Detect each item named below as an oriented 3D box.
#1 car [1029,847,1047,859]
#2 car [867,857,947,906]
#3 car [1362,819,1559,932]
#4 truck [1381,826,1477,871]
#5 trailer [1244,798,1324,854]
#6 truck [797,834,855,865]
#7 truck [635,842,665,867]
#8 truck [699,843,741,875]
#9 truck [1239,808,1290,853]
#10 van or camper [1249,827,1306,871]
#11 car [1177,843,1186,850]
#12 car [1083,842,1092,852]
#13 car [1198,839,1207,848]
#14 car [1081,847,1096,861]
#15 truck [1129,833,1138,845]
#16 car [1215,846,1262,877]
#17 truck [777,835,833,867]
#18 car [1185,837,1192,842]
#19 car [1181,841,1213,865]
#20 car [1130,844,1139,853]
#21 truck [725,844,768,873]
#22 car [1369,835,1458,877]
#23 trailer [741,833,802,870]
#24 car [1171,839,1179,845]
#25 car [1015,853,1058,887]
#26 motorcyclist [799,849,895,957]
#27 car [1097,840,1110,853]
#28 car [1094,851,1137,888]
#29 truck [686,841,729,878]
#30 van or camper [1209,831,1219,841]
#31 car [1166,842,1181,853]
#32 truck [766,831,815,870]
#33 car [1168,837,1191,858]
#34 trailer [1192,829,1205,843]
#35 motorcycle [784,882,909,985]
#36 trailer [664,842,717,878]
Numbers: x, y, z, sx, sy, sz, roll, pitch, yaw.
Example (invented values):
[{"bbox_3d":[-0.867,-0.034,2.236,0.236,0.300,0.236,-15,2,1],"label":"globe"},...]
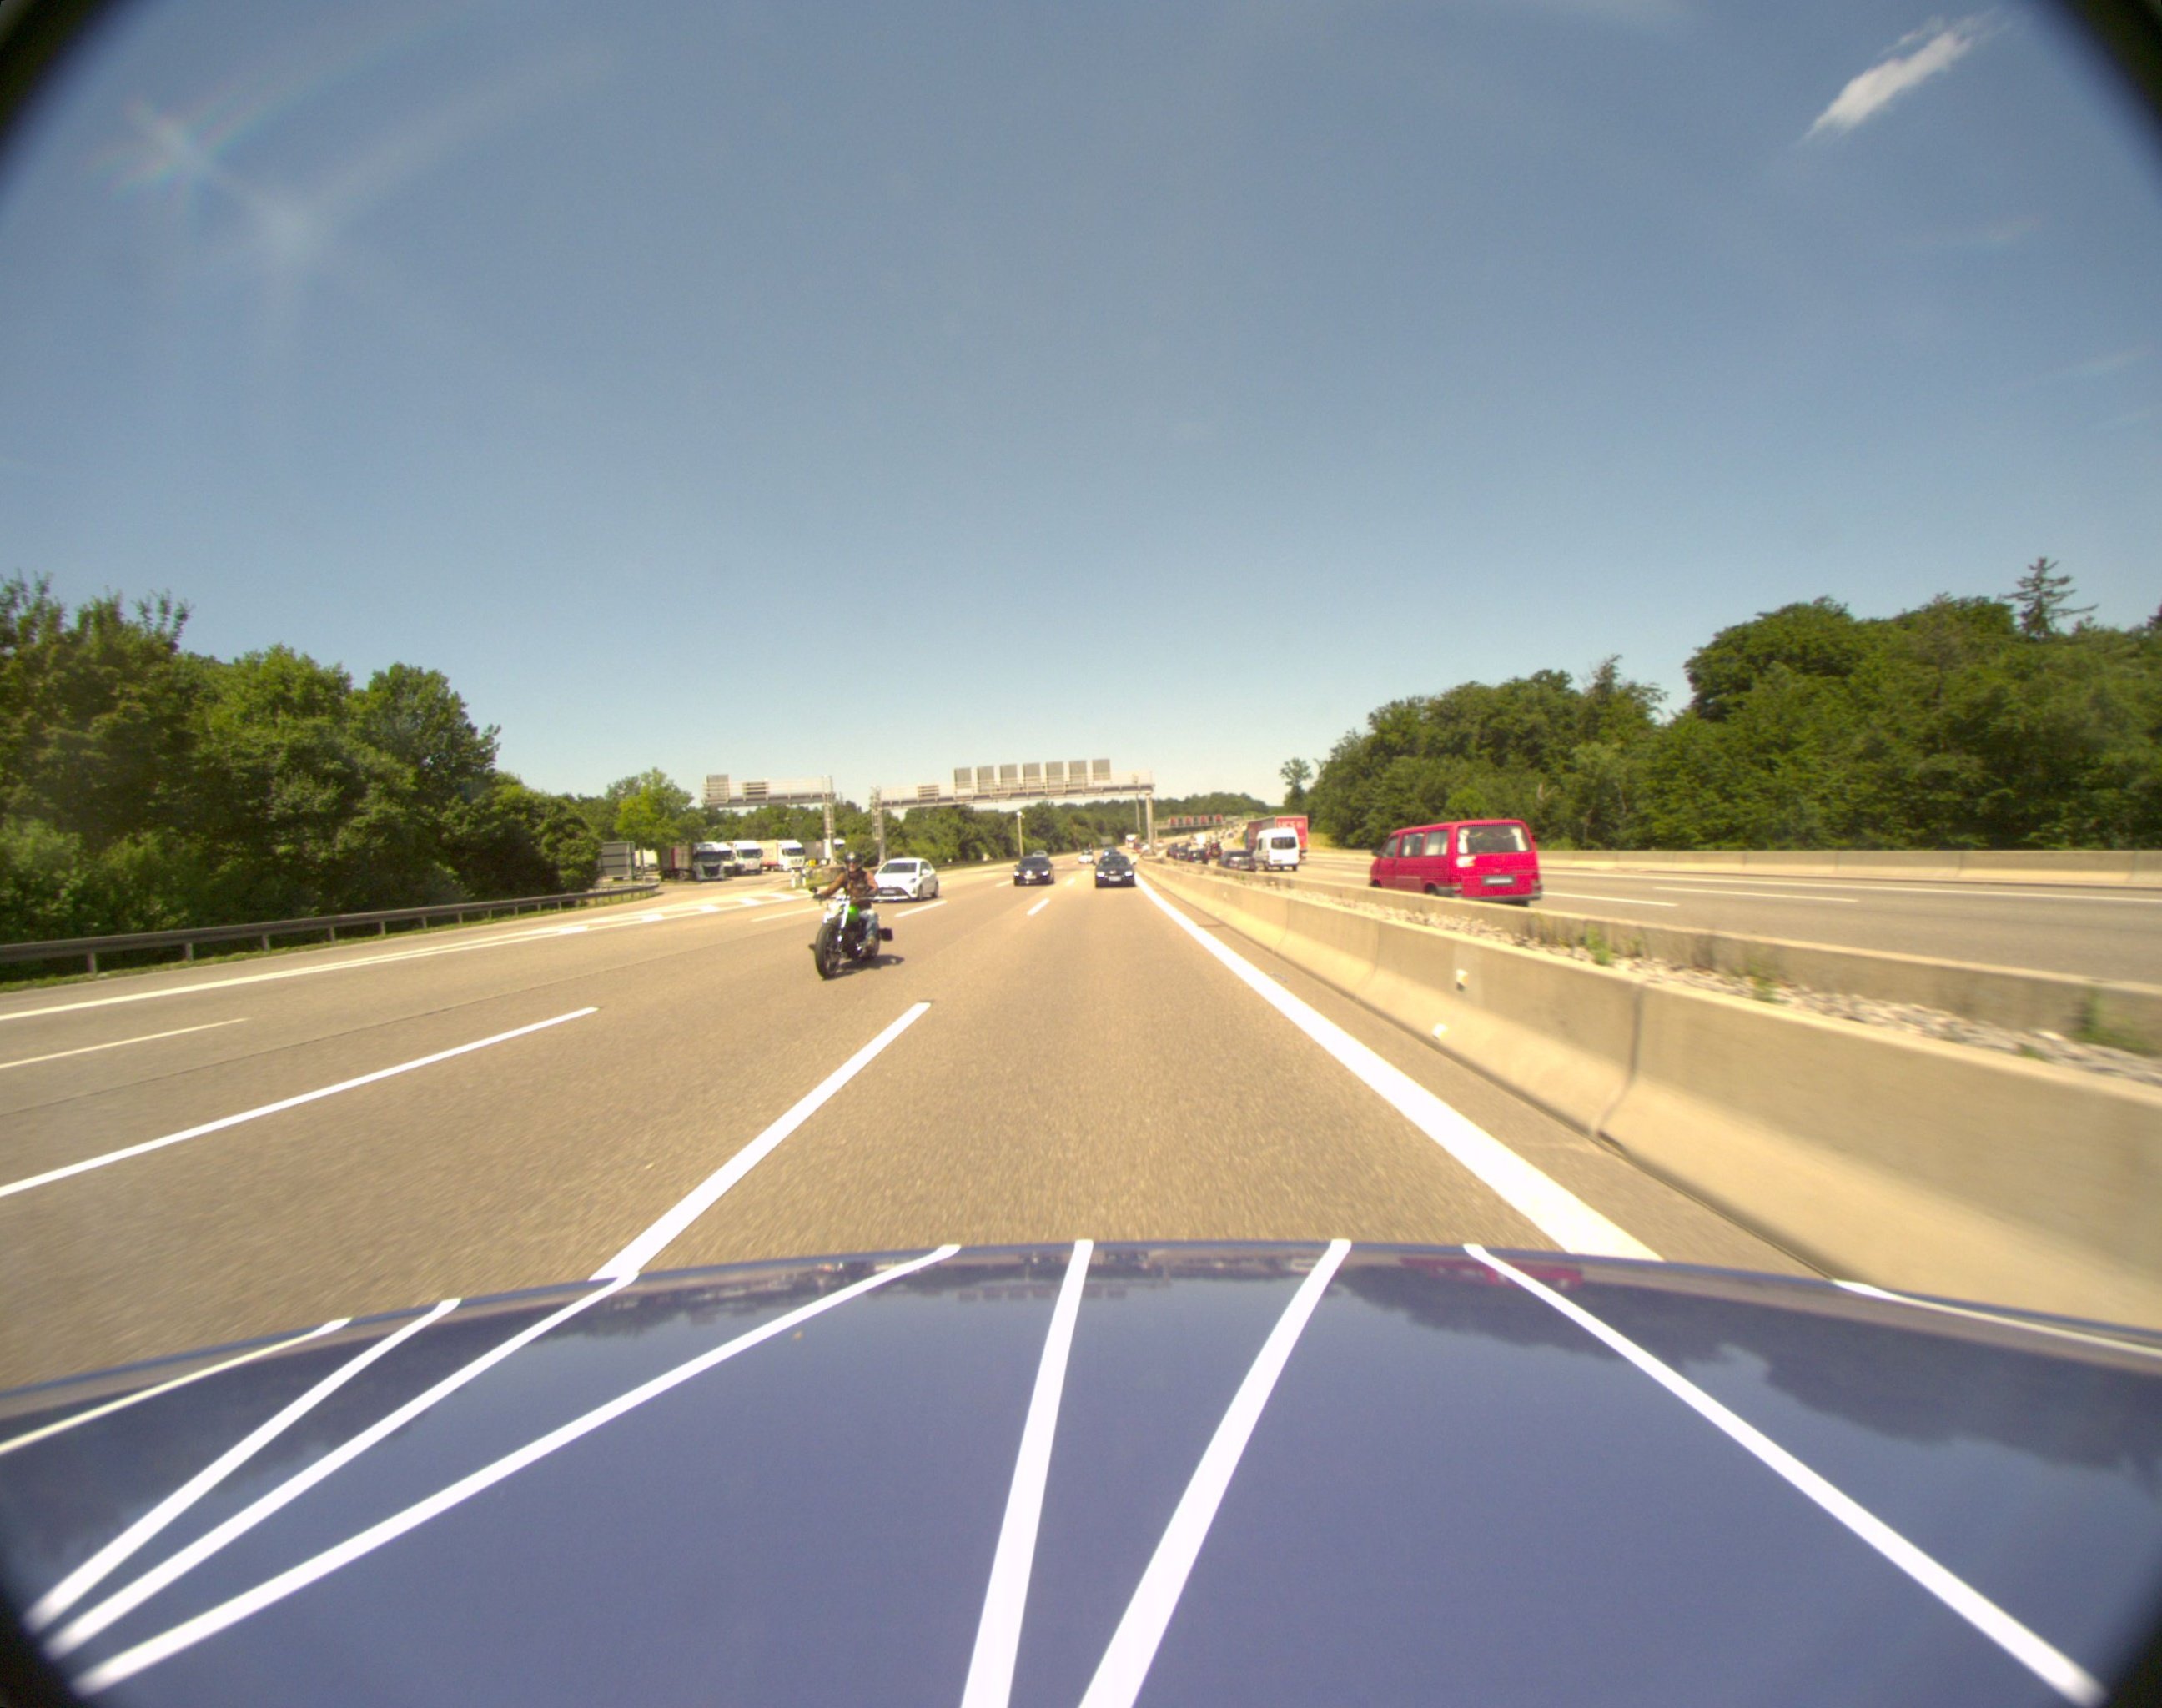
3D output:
[{"bbox_3d":[-5.795,-0.138,103.703,1.998,1.521,3.999,-2,2,2],"label":"car"},{"bbox_3d":[-6.147,0.912,27.359,1.754,1.510,4.484,-2,0,1],"label":"car"},{"bbox_3d":[7.805,0.347,16.218,1.911,1.971,4.640,-3,1,1],"label":"car"},{"bbox_3d":[19.989,-0.385,44.261,2.051,2.241,8.824,-3,1,4],"label":"truck"},{"bbox_3d":[17.676,-2.386,67.596,3.844,4.255,14.477,-3,1,4],"label":"trailer"},{"bbox_3d":[-40.192,-0.656,119.391,2.837,4.434,14.602,-3,1,-42],"label":"truck"},{"bbox_3d":[-69.784,0.129,122.925,2.461,3.800,8.789,-5,3,-39],"label":"truck"},{"bbox_3d":[-41.827,0.535,87.929,2.458,3.411,9.003,-5,3,-36],"label":"truck"},{"bbox_3d":[18.186,-2.295,75.644,3.794,4.153,5.879,-3,1,4],"label":"truck"},{"bbox_3d":[12.449,-0.343,48.645,2.105,2.551,6.400,-2,1,2],"label":"van or camper"},{"bbox_3d":[23.366,-1.743,176.279,1.758,1.625,4.639,-2,0,3],"label":"car"},{"bbox_3d":[1.481,-1.684,172.949,1.998,2.003,3.999,-3,2,2],"label":"car"},{"bbox_3d":[30.596,-2.652,191.490,1.997,2.003,4.001,-3,2,8],"label":"car"},{"bbox_3d":[0.930,-0.012,93.738,1.729,1.521,3.741,-4,2,2],"label":"car"},{"bbox_3d":[16.373,-4.660,236.073,2.434,3.458,7.022,-3,2,5],"label":"truck"},{"bbox_3d":[8.796,0.364,42.701,1.773,1.501,4.823,-3,1,2],"label":"car"},{"bbox_3d":[-41.084,-0.398,112.722,2.836,4.436,12.027,-6,4,-44],"label":"truck"},{"bbox_3d":[33.985,-4.517,239.806,1.765,1.512,4.362,-3,2,5],"label":"car"},{"bbox_3d":[9.567,-0.116,62.889,1.998,1.714,5.194,-3,2,2],"label":"car"},{"bbox_3d":[11.779,-1.241,167.118,1.998,2.002,4.001,-3,0,4],"label":"car"},{"bbox_3d":[-39.862,0.518,90.355,2.458,3.108,9.003,-5,3,-36],"label":"truck"},{"bbox_3d":[15.265,0.061,35.179,1.998,1.752,5.069,-2,1,2],"label":"car"},{"bbox_3d":[-42.116,-0.345,103.063,3.287,4.682,12.024,-5,3,-42],"label":"trailer"},{"bbox_3d":[26.853,-3.529,216.778,1.998,1.658,4.435,-2,1,6],"label":"car"},{"bbox_3d":[-2.181,0.788,38.441,1.760,1.431,3.999,-2,2,2],"label":"car"},{"bbox_3d":[-3.242,0.652,10.614,0.854,1.419,1.024,-1,1,11],"label":"motorcyclist"},{"bbox_3d":[3.935,-1.308,131.760,1.998,2.003,3.999,-3,2,3],"label":"car"},{"bbox_3d":[1.505,0.658,34.262,1.769,1.496,4.000,-3,0,1],"label":"car"},{"bbox_3d":[-38.800,0.557,78.753,2.498,3.591,6.308,-5,3,-38],"label":"truck"},{"bbox_3d":[44.464,-5.975,254.129,2.770,3.108,8.095,-3,2,7],"label":"van or camper"},{"bbox_3d":[14.208,-1.018,116.612,1.961,1.509,5.134,-3,0,3],"label":"car"},{"bbox_3d":[-37.598,-0.417,98.134,3.272,4.698,7.169,-5,4,-42],"label":"truck"},{"bbox_3d":[10.556,-0.680,81.400,1.998,2.003,3.999,-3,2,2],"label":"car"},{"bbox_3d":[37.697,-5.756,244.223,2.871,4.238,13.959,-2,1,3],"label":"trailer"},{"bbox_3d":[-3.189,1.038,10.652,0.536,1.129,2.438,-1,1,11],"label":"motorcycle"},{"bbox_3d":[-43.986,0.608,85.250,2.509,3.594,13.331,-5,3,-38],"label":"trailer"}]
